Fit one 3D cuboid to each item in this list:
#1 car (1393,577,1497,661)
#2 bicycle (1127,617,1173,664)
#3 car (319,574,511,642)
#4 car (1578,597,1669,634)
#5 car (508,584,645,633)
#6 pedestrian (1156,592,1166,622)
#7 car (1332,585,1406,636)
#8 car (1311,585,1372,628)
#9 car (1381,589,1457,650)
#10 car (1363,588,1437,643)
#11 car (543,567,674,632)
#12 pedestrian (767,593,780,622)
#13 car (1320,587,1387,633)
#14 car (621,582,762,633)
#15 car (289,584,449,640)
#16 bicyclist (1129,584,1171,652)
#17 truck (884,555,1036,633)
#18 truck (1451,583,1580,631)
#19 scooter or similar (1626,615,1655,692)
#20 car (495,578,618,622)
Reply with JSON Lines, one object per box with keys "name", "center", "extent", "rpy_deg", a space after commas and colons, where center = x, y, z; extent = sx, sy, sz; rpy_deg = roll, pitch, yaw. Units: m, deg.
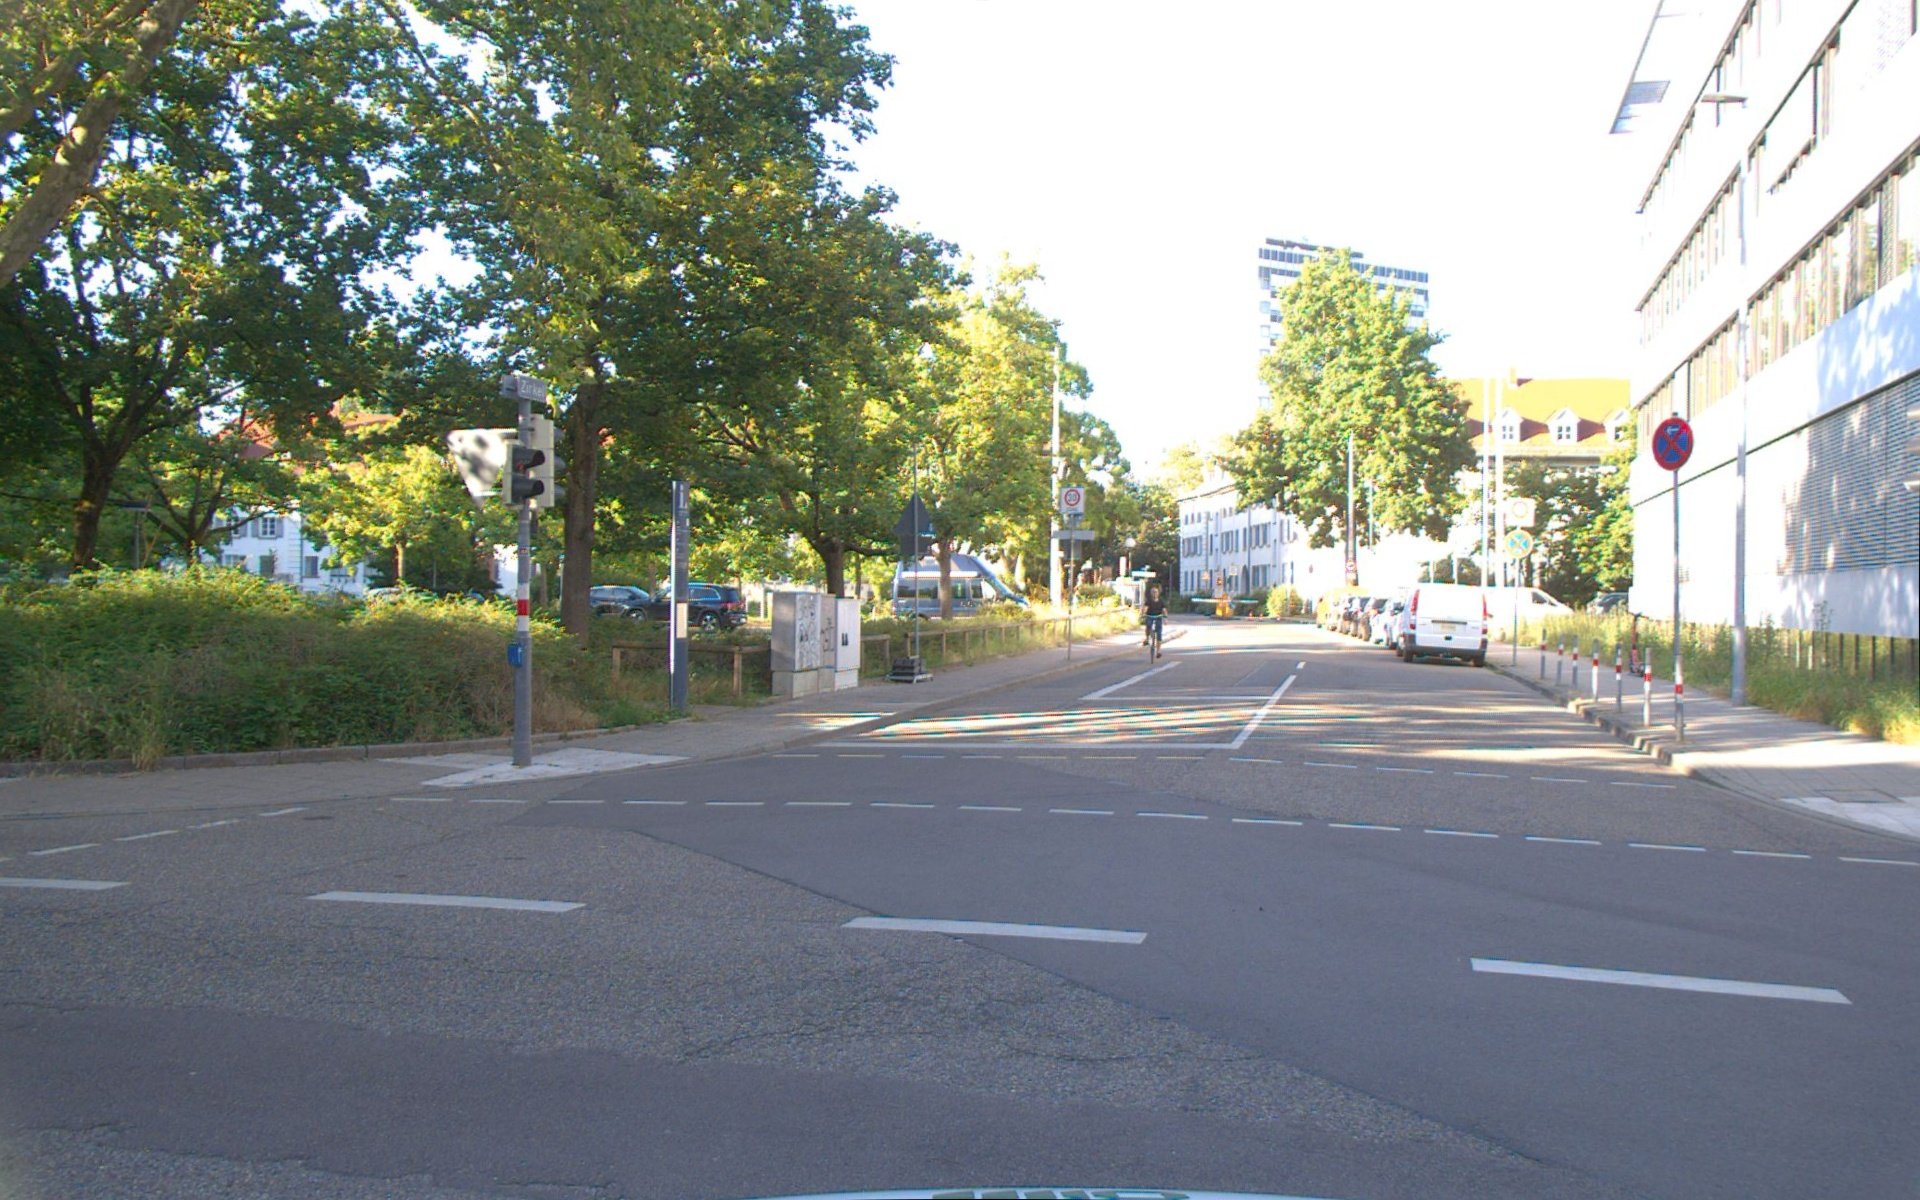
{"name": "car", "center": [11.553, 0.401, 39.648], "extent": [2.041, 1.827, 4.419], "rpy_deg": [1, 1, 12]}
{"name": "bicycle", "center": [4.424, 0.922, 38.376], "extent": [0.847, 1.027, 2.416], "rpy_deg": [-2, -1, 11]}
{"name": "car", "center": [-14.593, 0.232, 44.348], "extent": [4.458, 1.760, 2.076], "rpy_deg": [0, -1, 14]}
{"name": "car", "center": [29.950, 0.694, 74.685], "extent": [3.480, 1.573, 1.559], "rpy_deg": [1, 0, 3]}
{"name": "car", "center": [-14.135, 0.306, 61.091], "extent": [4.458, 1.760, 2.076], "rpy_deg": [0, -1, 14]}
{"name": "pedestrian", "center": [11.368, 0.386, 93.728], "extent": [0.534, 1.706, 0.476], "rpy_deg": [0, 0, 5]}
{"name": "car", "center": [14.969, 0.357, 60.718], "extent": [1.849, 1.684, 4.418], "rpy_deg": [1, 1, 4]}
{"name": "car", "center": [16.301, 0.269, 70.933], "extent": [1.849, 1.684, 4.418], "rpy_deg": [1, 1, 4]}
{"name": "car", "center": [13.202, 0.522, 47.790], "extent": [1.848, 1.582, 4.419], "rpy_deg": [1, 1, 12]}
{"name": "car", "center": [14.101, 0.466, 53.221], "extent": [1.848, 1.582, 4.419], "rpy_deg": [1, 1, 9]}
{"name": "car", "center": [-13.469, -0.013, 63.414], "extent": [4.458, 2.433, 2.076], "rpy_deg": [0, -1, 14]}
{"name": "pedestrian", "center": [-8.752, 0.346, 77.590], "extent": [0.547, 1.347, 0.577], "rpy_deg": [0, 0, -4]}
{"name": "car", "center": [15.544, 0.362, 65.560], "extent": [1.849, 1.684, 4.418], "rpy_deg": [1, 1, 4]}
{"name": "car", "center": [-9.447, 0.277, 58.284], "extent": [4.458, 1.760, 2.076], "rpy_deg": [0, -1, 14]}
{"name": "car", "center": [-19.071, 0.384, 53.466], "extent": [4.458, 1.760, 2.076], "rpy_deg": [0, -1, 14]}
{"name": "bicyclist", "center": [4.421, 0.417, 38.388], "extent": [0.847, 1.542, 1.020], "rpy_deg": [-2, -1, 11]}
{"name": "truck", "center": [0.026, -0.220, 55.680], "extent": [4.725, 2.441, 2.089], "rpy_deg": [1, 1, 13]}
{"name": "truck", "center": [25.272, 0.326, 75.362], "extent": [5.226, 2.049, 2.001], "rpy_deg": [1, 0, 3]}
{"name": "scooter or similar", "center": [13.224, 1.017, 32.171], "extent": [0.323, 1.448, 1.336], "rpy_deg": [3, 0, 16]}
{"name": "car", "center": [-16.645, 0.020, 68.257], "extent": [4.458, 1.760, 2.076], "rpy_deg": [0, -1, 14]}
